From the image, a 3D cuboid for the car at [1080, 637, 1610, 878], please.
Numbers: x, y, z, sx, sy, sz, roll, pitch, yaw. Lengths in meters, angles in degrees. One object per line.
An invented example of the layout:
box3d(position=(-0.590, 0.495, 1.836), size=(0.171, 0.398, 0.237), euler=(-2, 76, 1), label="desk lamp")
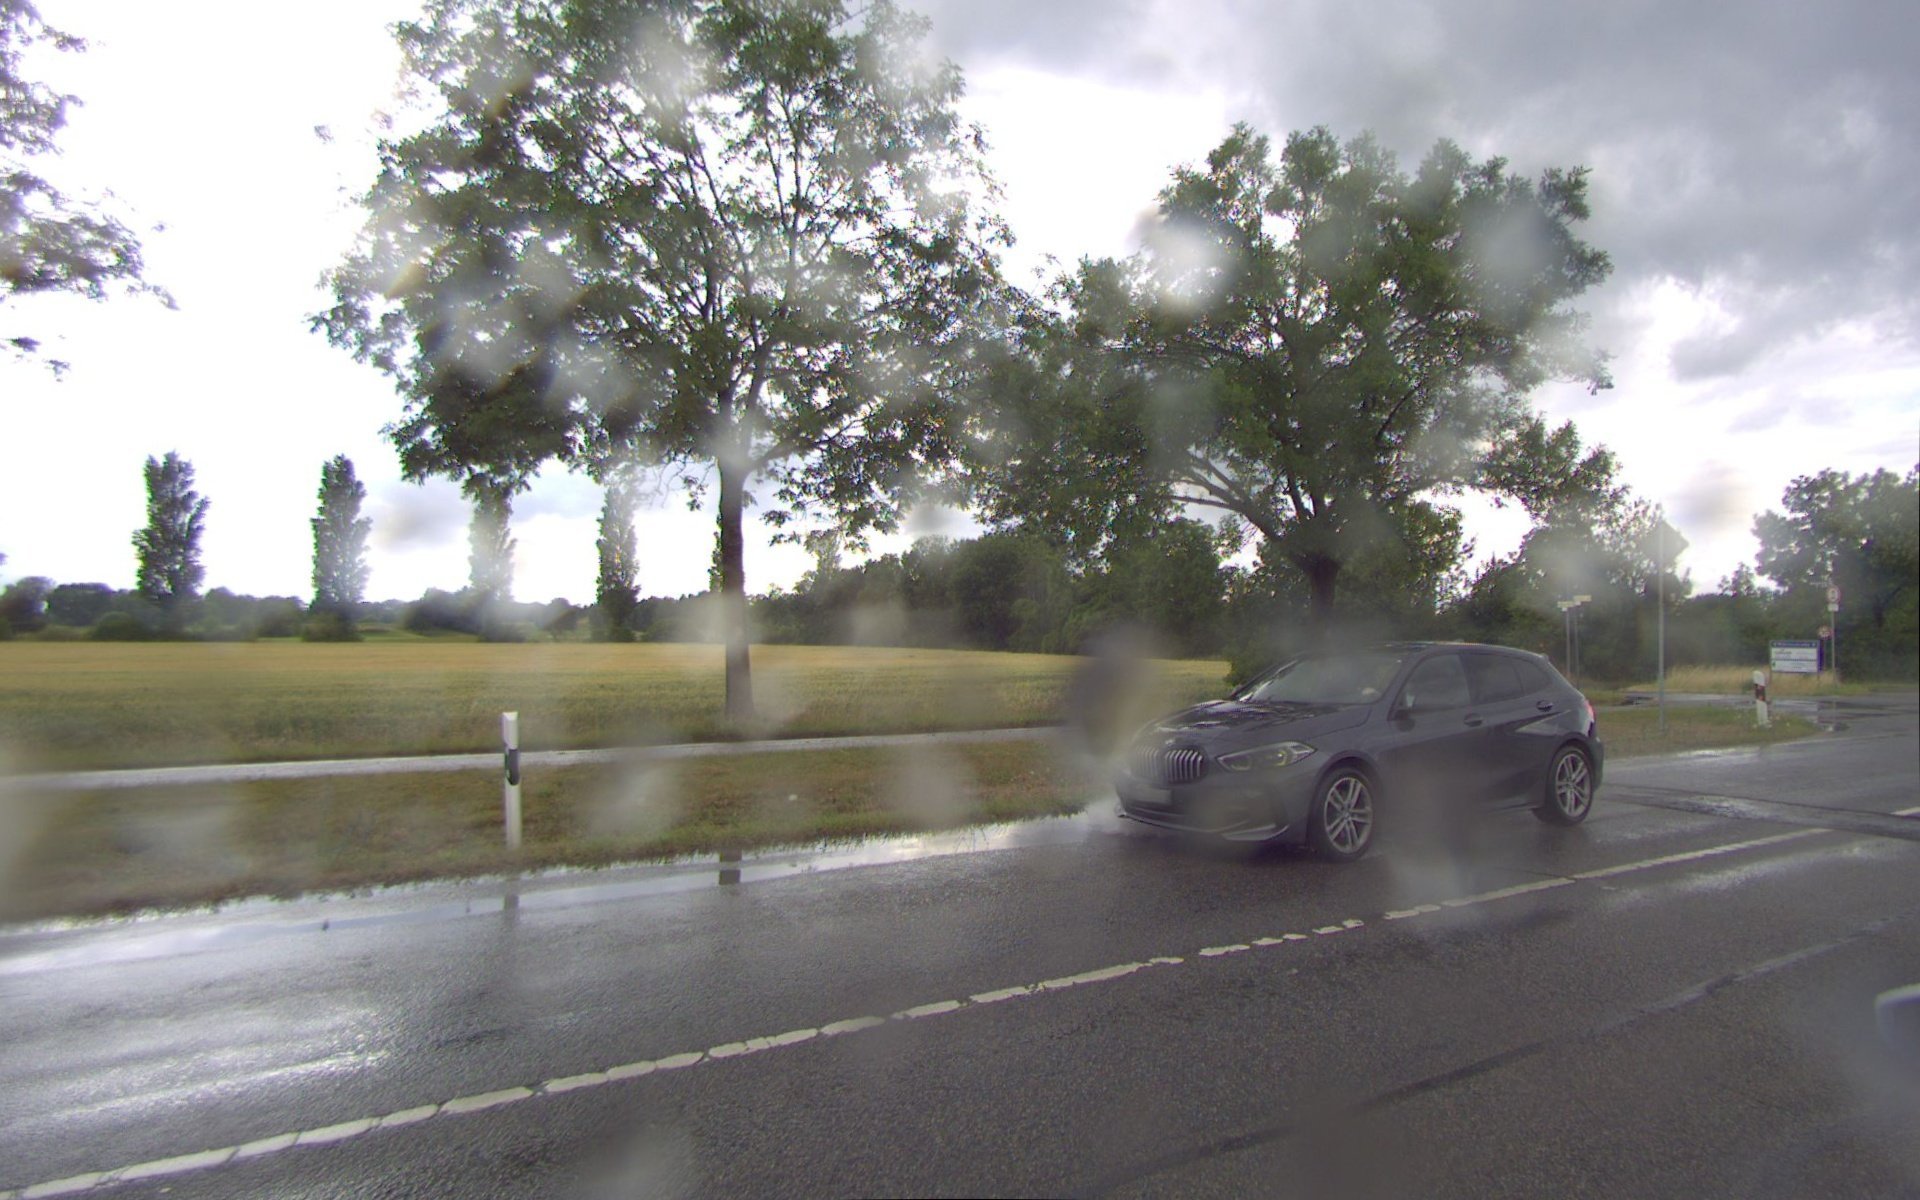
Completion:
box3d(position=(3.037, 1.023, 7.742), size=(3.997, 1.422, 1.711), euler=(2, -4, -31), label="car")
